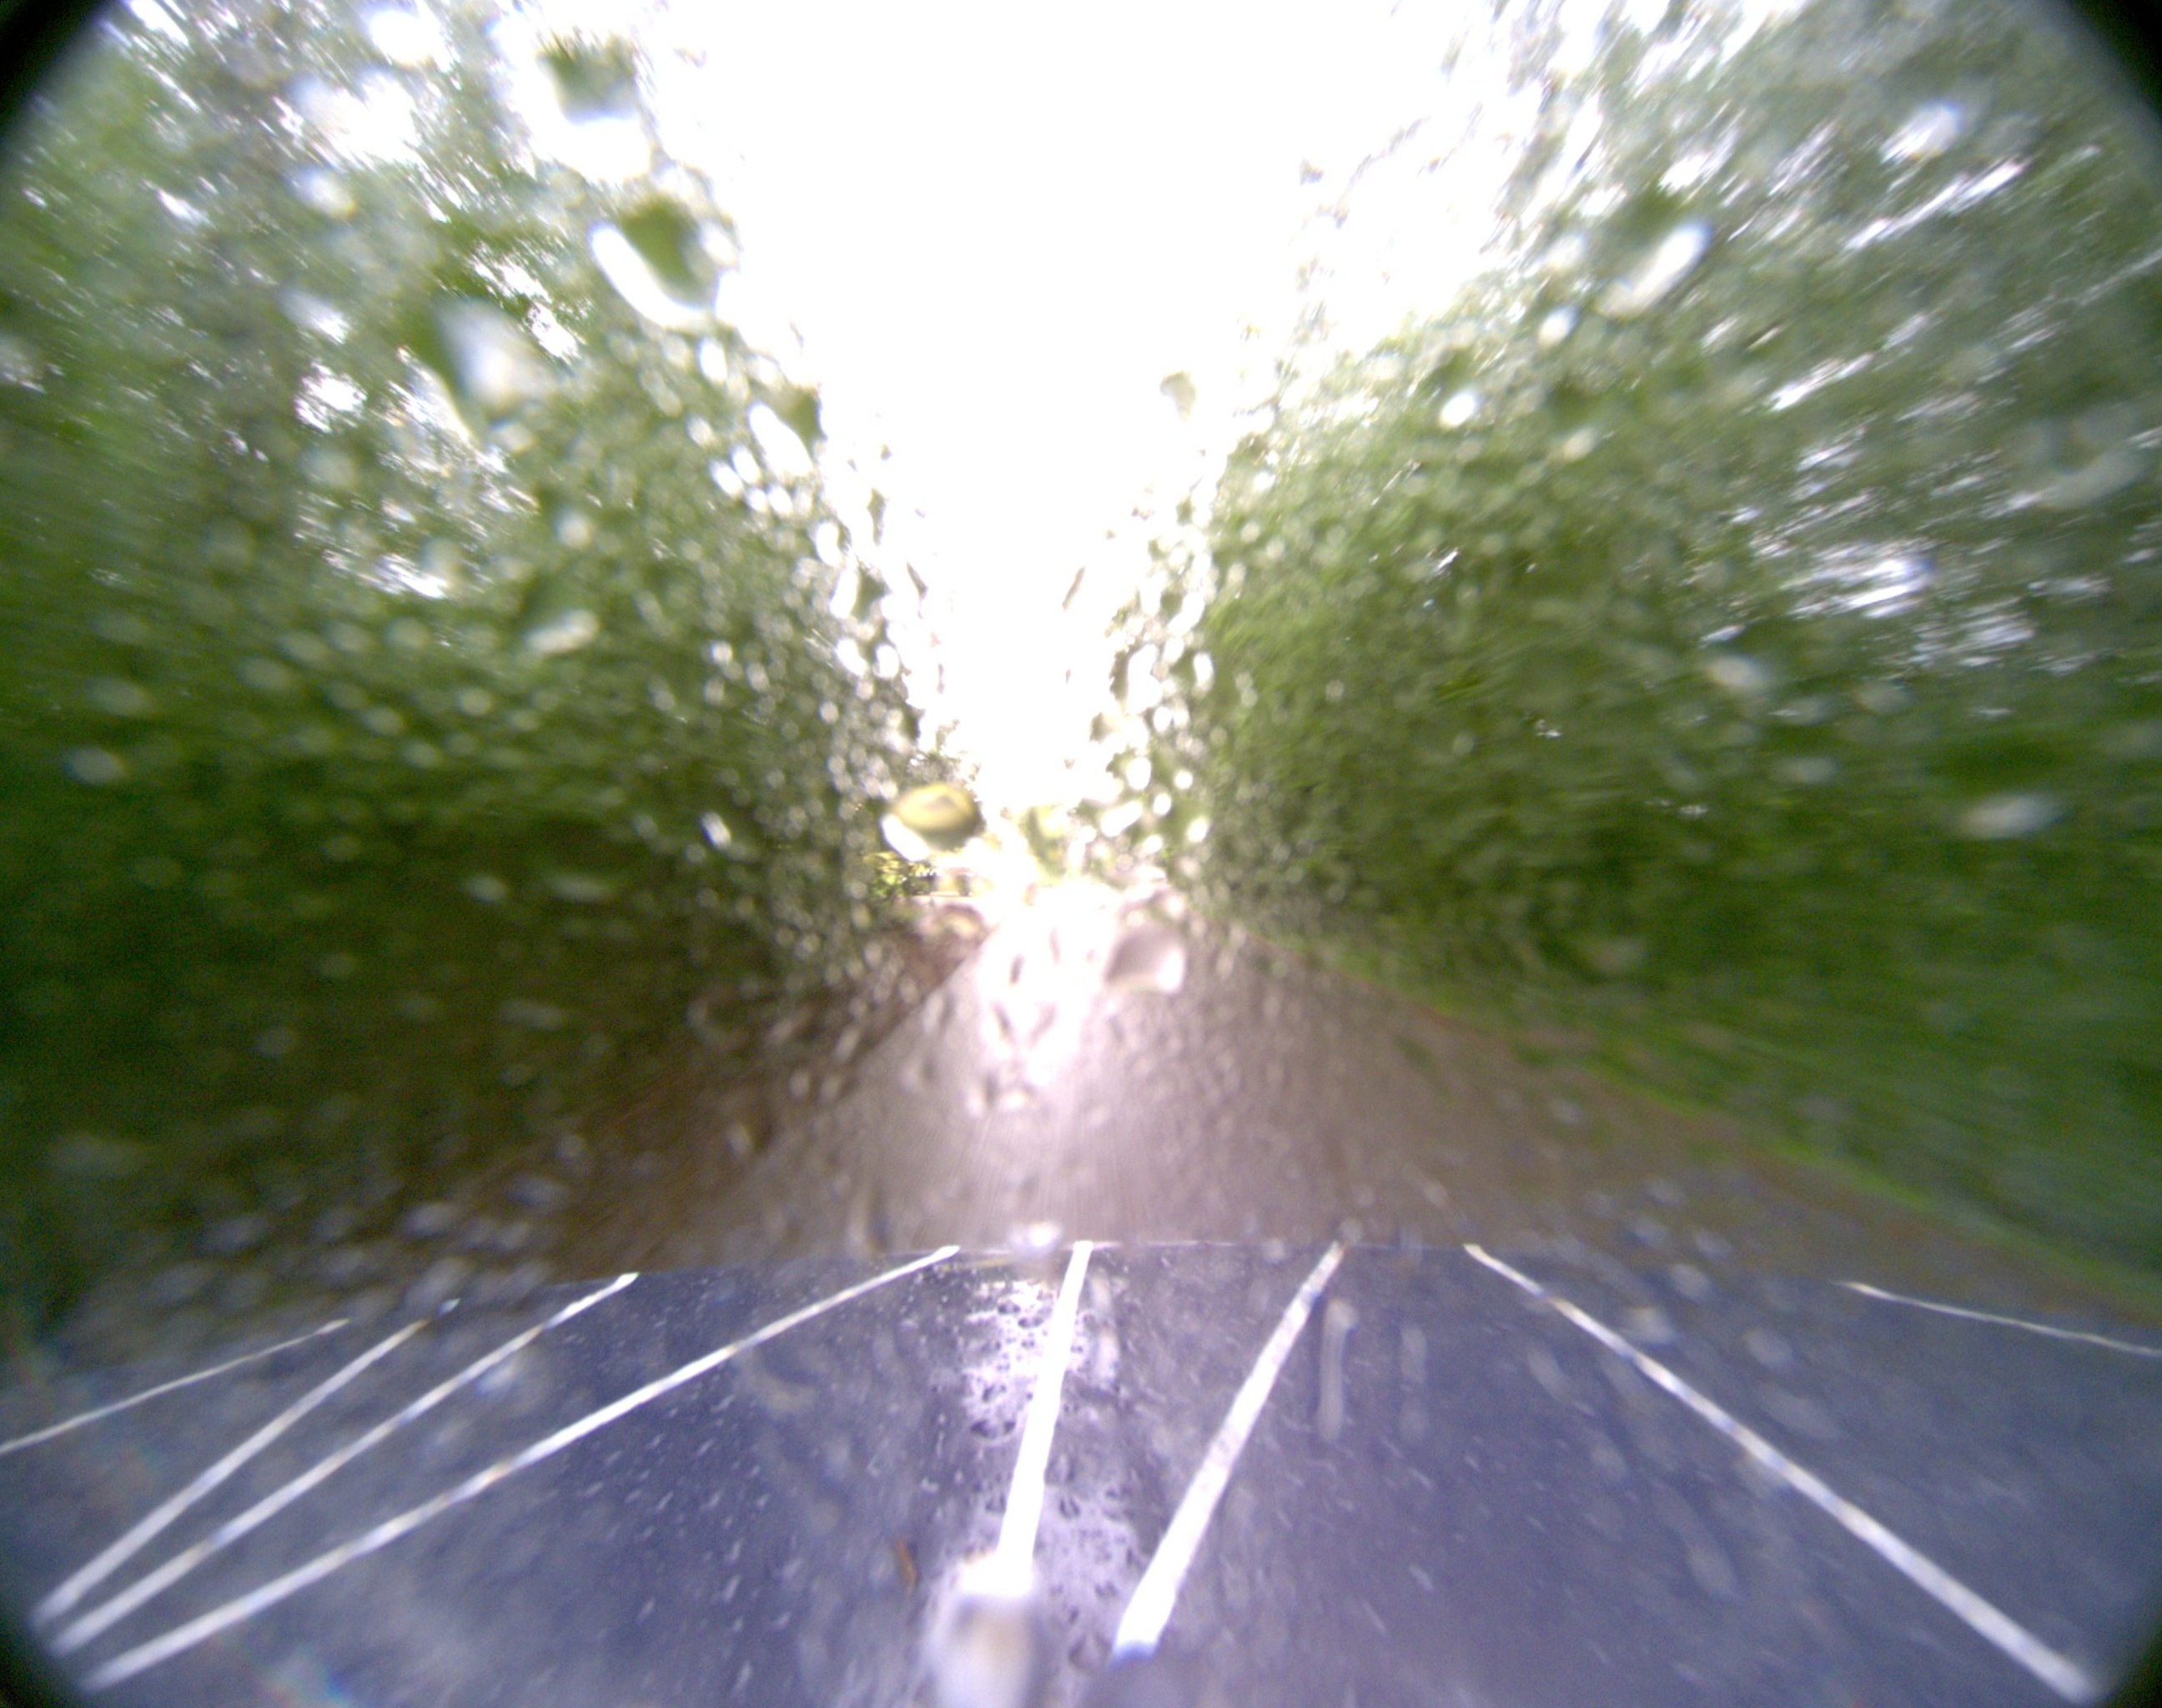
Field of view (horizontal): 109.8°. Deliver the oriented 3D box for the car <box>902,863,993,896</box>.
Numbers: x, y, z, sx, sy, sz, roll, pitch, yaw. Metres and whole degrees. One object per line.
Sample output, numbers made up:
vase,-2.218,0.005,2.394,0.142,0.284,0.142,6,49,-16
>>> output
car,-6.079,1.152,34.682,3.713,1.427,1.709,-1,0,13
